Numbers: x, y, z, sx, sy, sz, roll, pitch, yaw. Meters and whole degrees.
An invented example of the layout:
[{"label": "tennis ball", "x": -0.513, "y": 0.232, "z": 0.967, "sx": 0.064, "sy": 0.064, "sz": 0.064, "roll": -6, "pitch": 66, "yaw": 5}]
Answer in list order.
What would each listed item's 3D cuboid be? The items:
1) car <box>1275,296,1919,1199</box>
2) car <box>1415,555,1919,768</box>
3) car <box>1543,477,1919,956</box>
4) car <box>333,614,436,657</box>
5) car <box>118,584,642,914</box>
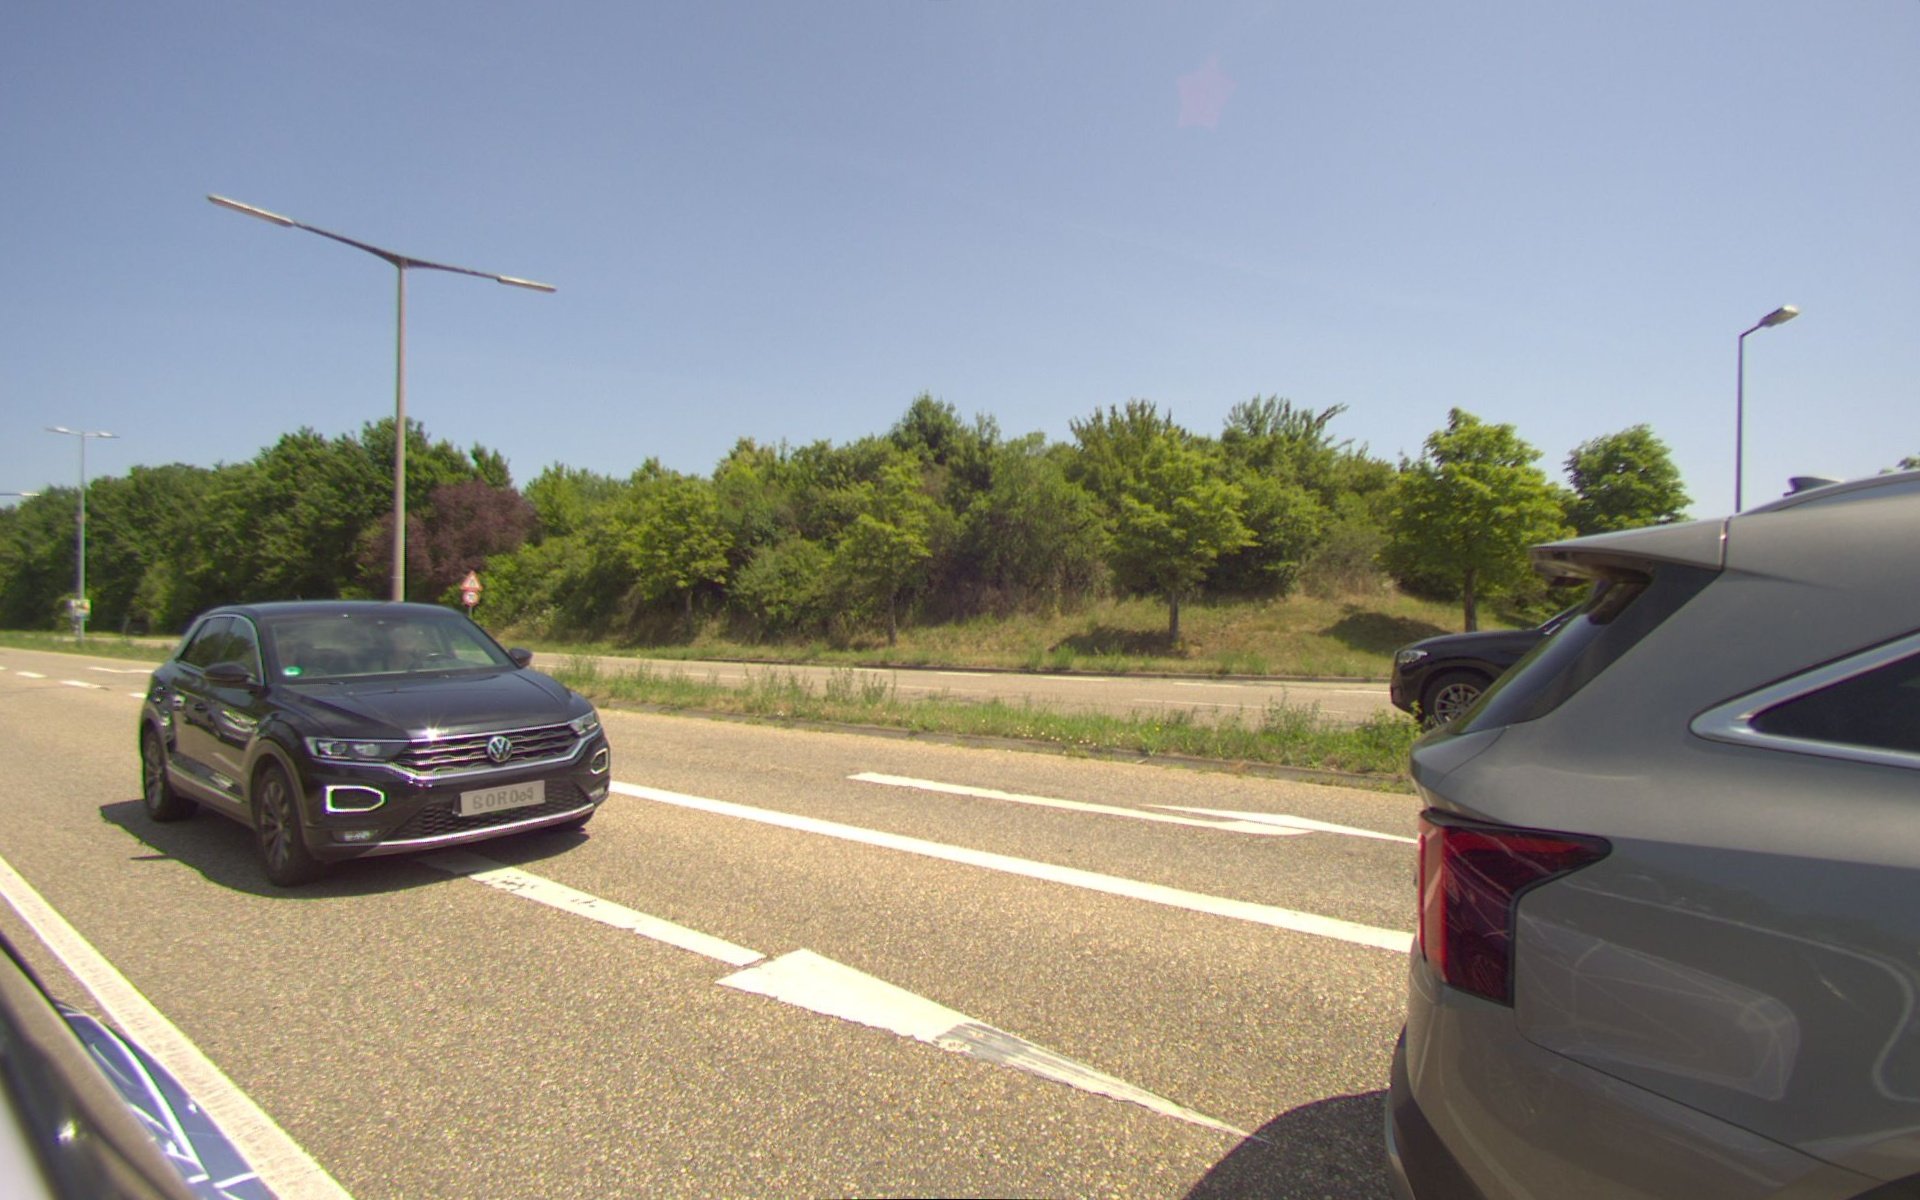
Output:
[{"label": "car", "x": 2.842, "y": 0.488, "z": 0.801, "sx": 4.640, "sy": 1.675, "sz": 1.785, "roll": -1, "pitch": -1, "yaw": 40}, {"label": "car", "x": 6.831, "y": 0.521, "z": 9.690, "sx": 4.220, "sy": 1.676, "sz": 1.689, "roll": -1, "pitch": -2, "yaw": 40}, {"label": "car", "x": 4.919, "y": 0.436, "z": 4.009, "sx": 4.316, "sy": 1.840, "sz": 1.714, "roll": -1, "pitch": -1, "yaw": 38}, {"label": "car", "x": -20.788, "y": 1.250, "z": 36.496, "sx": 4.162, "sy": 1.467, "sz": 1.805, "roll": -1, "pitch": -1, "yaw": 38}, {"label": "car", "x": -3.963, "y": 0.706, "z": 6.634, "sx": 3.967, "sy": 1.523, "sz": 1.717, "roll": -1, "pitch": 0, "yaw": 40}]
